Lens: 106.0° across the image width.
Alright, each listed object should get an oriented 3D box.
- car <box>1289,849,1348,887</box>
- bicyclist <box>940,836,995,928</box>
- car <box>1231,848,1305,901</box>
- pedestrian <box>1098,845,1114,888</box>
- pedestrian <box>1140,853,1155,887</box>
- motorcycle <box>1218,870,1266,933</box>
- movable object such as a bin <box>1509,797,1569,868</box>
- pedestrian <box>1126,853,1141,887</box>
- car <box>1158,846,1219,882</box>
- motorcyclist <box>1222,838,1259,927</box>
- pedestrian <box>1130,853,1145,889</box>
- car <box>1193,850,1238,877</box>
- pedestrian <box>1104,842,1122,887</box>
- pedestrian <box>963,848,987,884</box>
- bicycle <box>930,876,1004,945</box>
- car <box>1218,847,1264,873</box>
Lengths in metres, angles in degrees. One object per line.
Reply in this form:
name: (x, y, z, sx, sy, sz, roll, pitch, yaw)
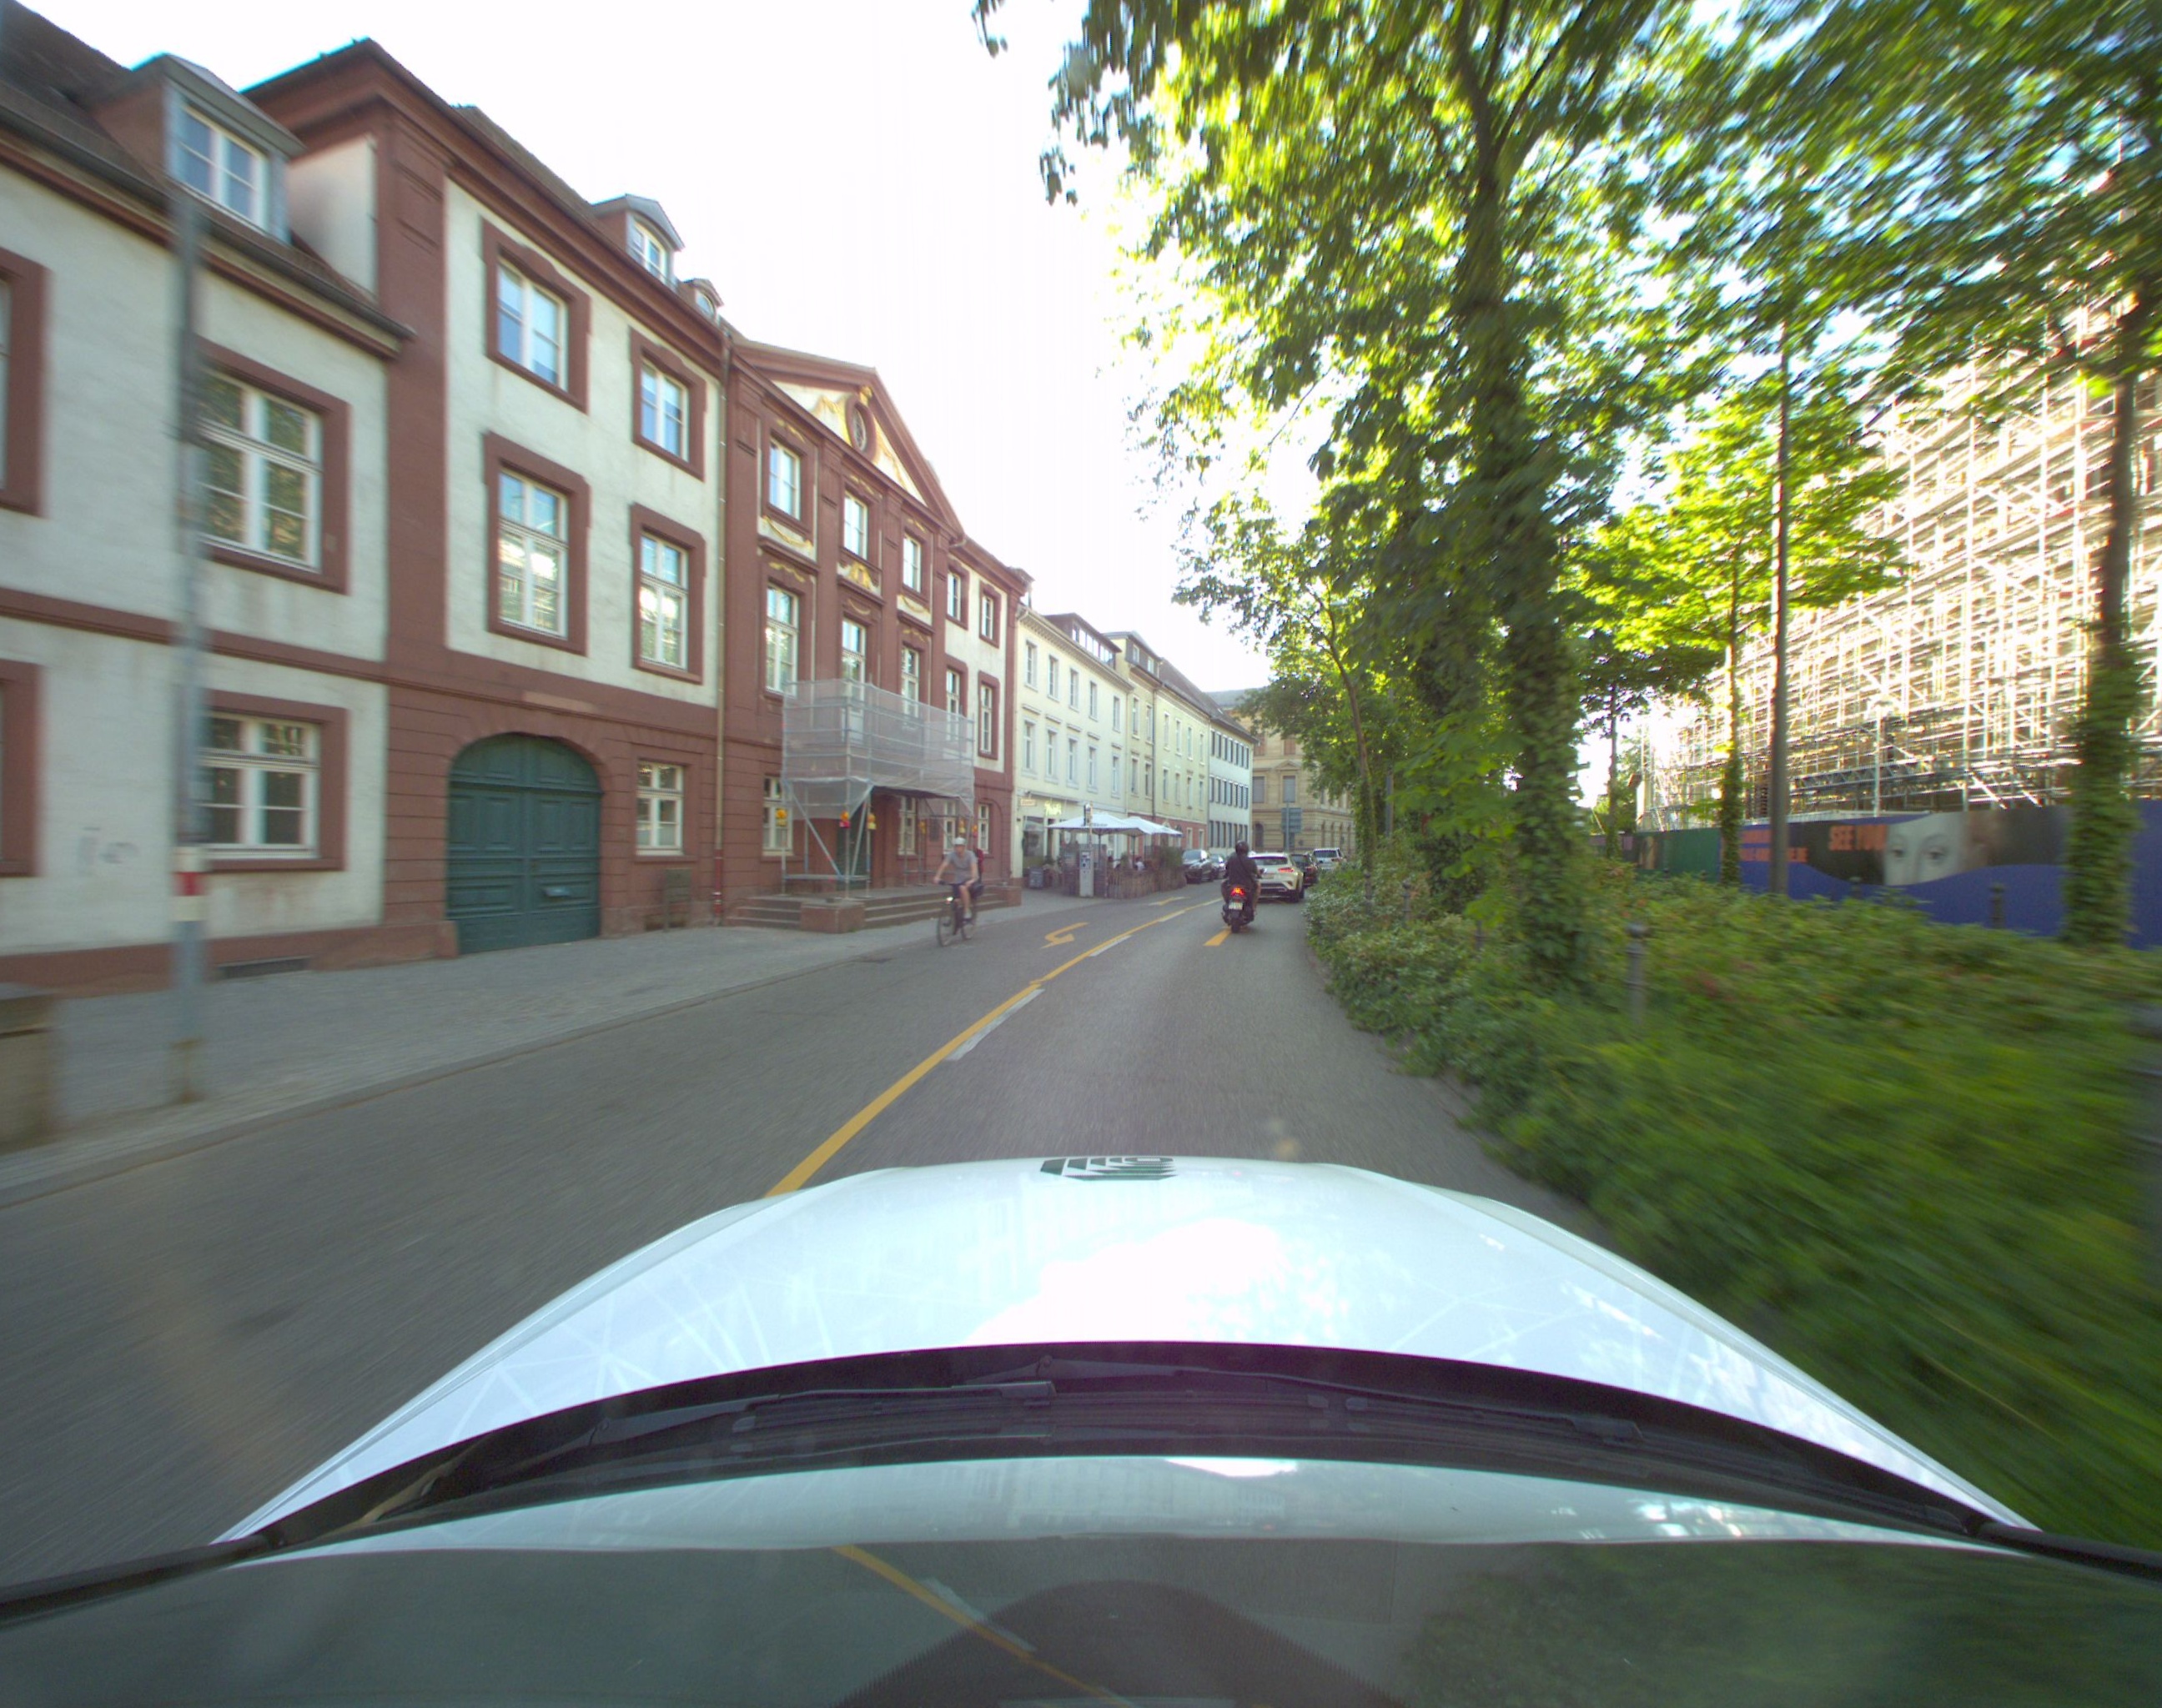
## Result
car: (9.999, 0.539, 34.081, 1.824, 1.463, 4.080, 1, 1, 23)
bicyclist: (-2.003, 0.475, 14.450, 0.740, 1.583, 0.797, 1, 1, 8)
car: (5.805, 0.553, 24.980, 1.836, 1.480, 4.076, 0, 1, 18)
pedestrian: (1.038, 0.501, 33.765, 0.433, 1.775, 0.601, 0, 0, 32)
pedestrian: (2.772, 0.662, 34.018, 0.519, 1.391, 0.490, 0, 0, 16)
motorcycle: (3.052, 0.872, 15.573, 0.792, 1.066, 1.729, 1, 1, 8)
movable object such as a bin: (31.405, -1.410, 56.095, 3.276, 4.539, 7.953, -1, 0, 27)
pedestrian: (2.201, 0.668, 34.180, 0.519, 1.391, 0.490, 0, 0, 16)
car: (5.508, 0.469, 41.100, 1.905, 1.679, 4.810, -1, 0, 21)
motorcyclist: (3.056, 0.528, 15.656, 0.653, 1.650, 0.652, 1, 1, 9)
pedestrian: (2.294, 0.686, 32.903, 0.466, 1.433, 0.505, 0, 0, 24)
car: (7.800, 0.500, 46.791, 1.639, 1.480, 4.451, -1, 0, 21)
pedestrian: (1.271, 0.419, 32.378, 0.590, 1.775, 0.442, 0, 0, 28)
pedestrian: (-3.114, 0.343, 23.937, 0.533, 1.053, 0.554, 1, 1, 15)
bicycle: (-1.996, 0.970, 14.562, 0.767, 1.062, 2.083, 0, 1, 8)
car: (10.645, 0.380, 53.976, 1.916, 1.667, 4.372, -1, 0, 25)
